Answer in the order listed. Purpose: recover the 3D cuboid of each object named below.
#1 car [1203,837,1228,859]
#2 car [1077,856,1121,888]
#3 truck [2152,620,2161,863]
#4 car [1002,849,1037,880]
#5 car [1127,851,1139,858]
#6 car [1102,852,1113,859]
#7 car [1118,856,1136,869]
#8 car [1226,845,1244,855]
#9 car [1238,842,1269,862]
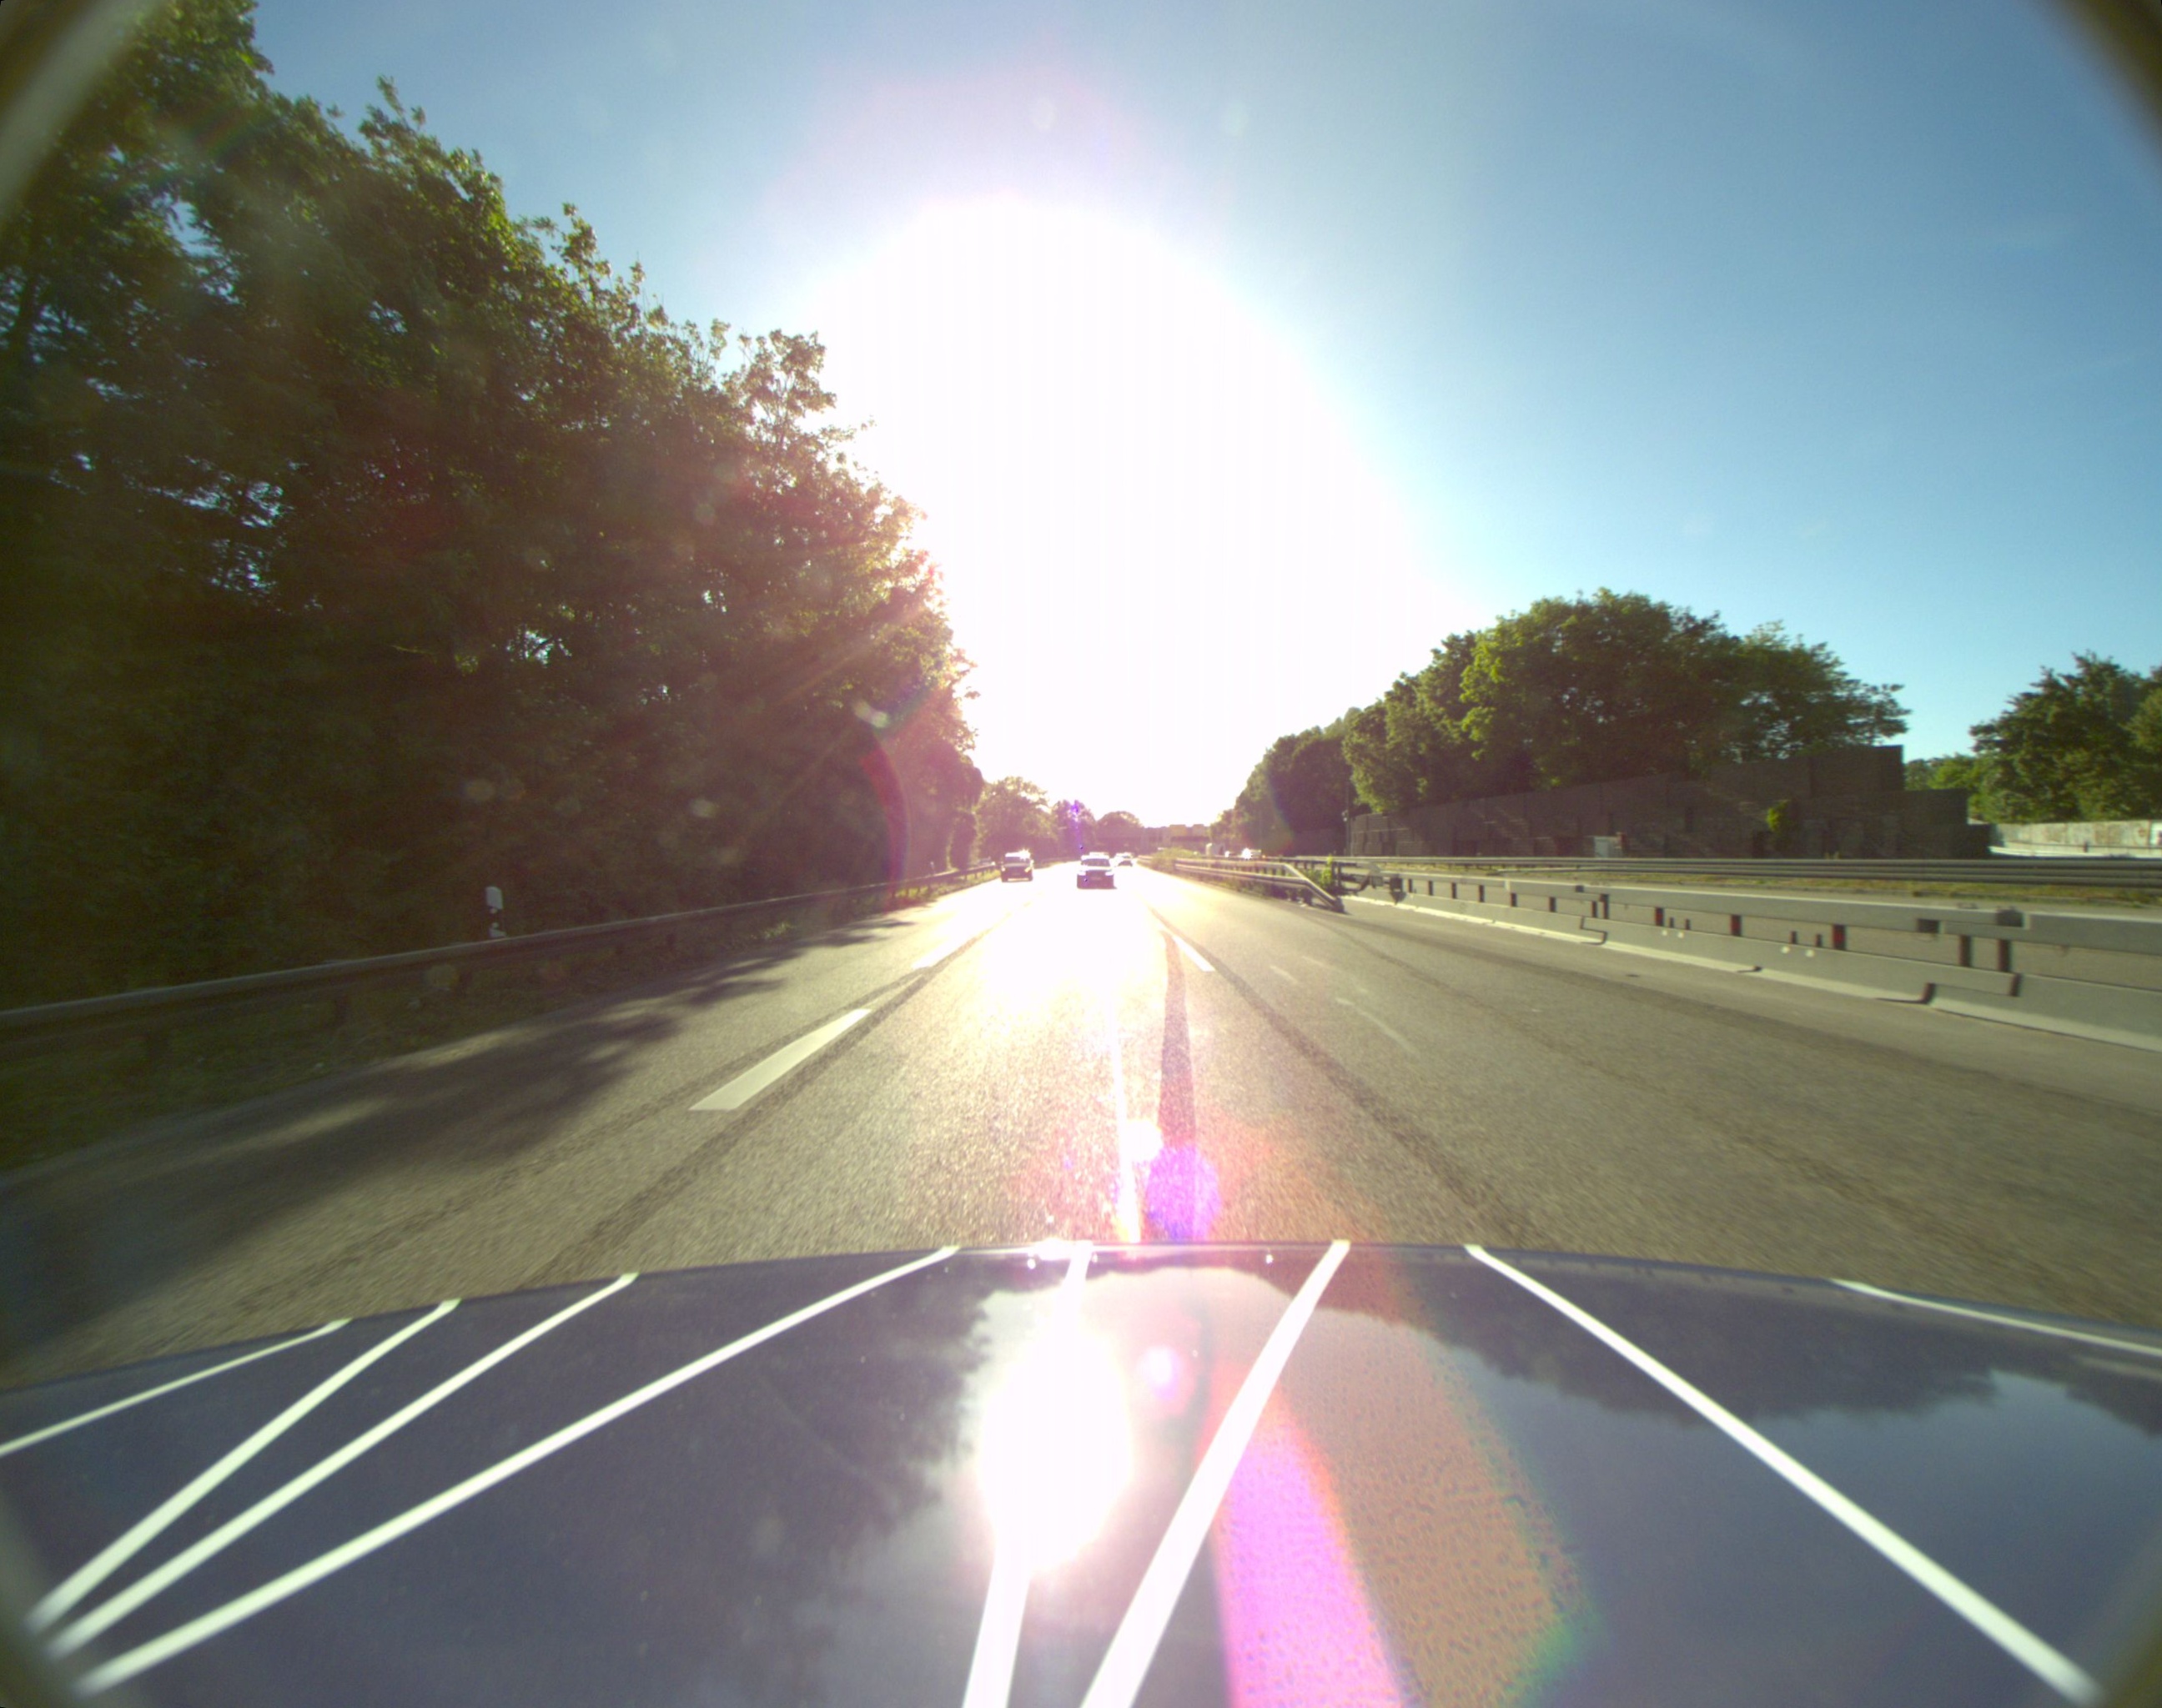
[{"bbox_3d":[17.139,-0.751,97.136,2.152,2.595,6.052,-3,0,1],"label":"car"},{"bbox_3d":[0.937,0.815,36.494,1.998,1.406,4.831,0,0,3],"label":"car"},{"bbox_3d":[14.855,-0.880,6.331,2.742,4.236,6.387,-3,0,1],"label":"truck"},{"bbox_3d":[-3.580,0.617,44.568,1.746,1.652,4.000,-3,0,-1],"label":"car"},{"bbox_3d":[10.572,0.066,154.849,1.998,1.406,4.831,-1,0,1],"label":"car"},{"bbox_3d":[5.287,0.241,150.584,1.998,1.406,4.833,-1,0,5],"label":"car"},{"bbox_3d":[5.356,0.919,87.936,1.998,1.406,4.832,-1,0,3],"label":"car"},{"bbox_3d":[22.667,-0.585,112.090,2.001,1.326,4.098,-3,0,4],"label":"car"},{"bbox_3d":[16.146,-0.176,71.407,1.998,1.772,4.786,-3,0,3],"label":"car"}]
